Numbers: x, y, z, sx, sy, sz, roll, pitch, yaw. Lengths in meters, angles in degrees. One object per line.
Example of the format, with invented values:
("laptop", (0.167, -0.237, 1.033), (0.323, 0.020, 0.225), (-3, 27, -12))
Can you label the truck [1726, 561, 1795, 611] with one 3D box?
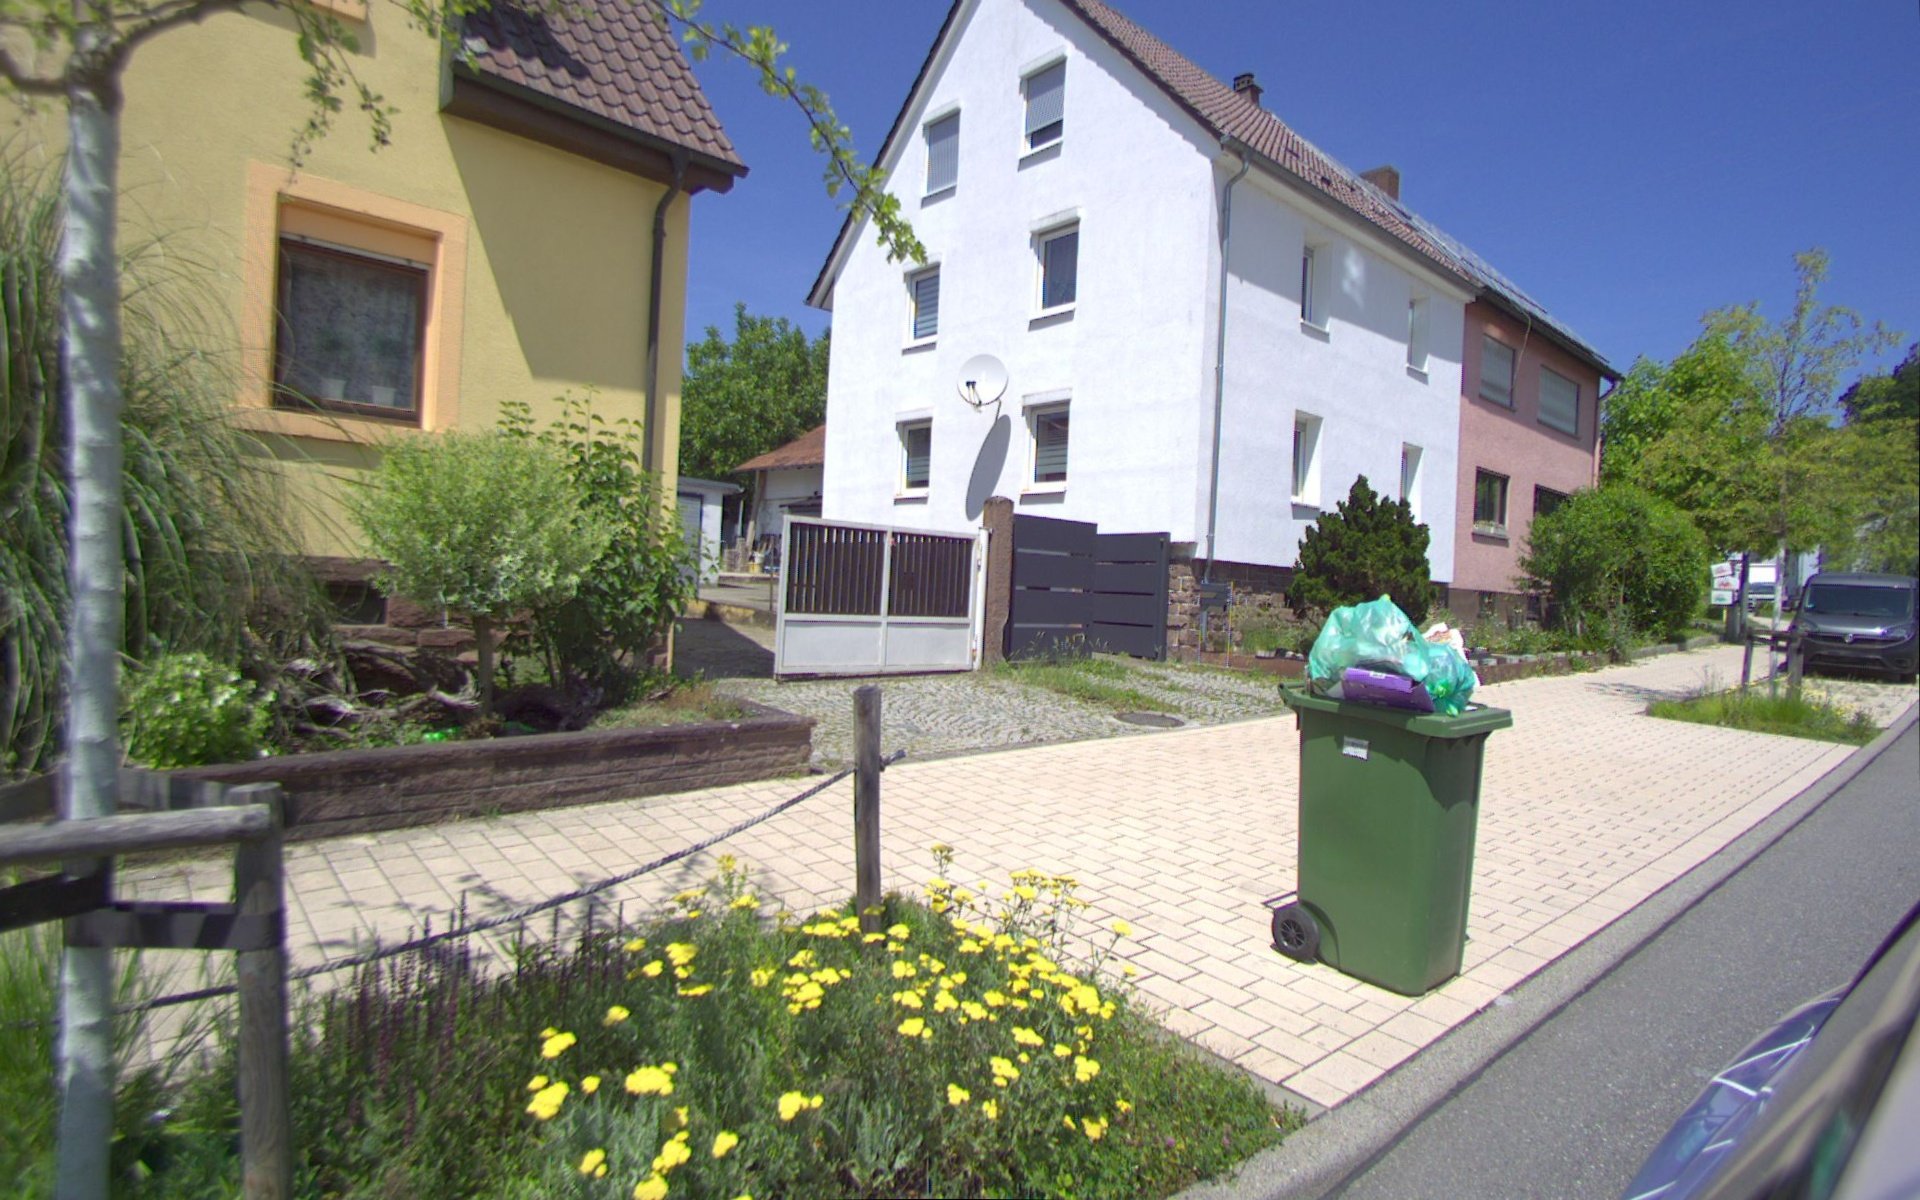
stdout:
("truck", (58.632, -1.015, 74.288), (2.785, 3.456, 8.032), (2, 1, 30))

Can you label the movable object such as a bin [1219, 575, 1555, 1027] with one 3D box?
("movable object such as a bin", (1.621, 0.643, 3.848), (0.910, 1.412, 0.793), (0, 5, -44))

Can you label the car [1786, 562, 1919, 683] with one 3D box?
("car", (16.443, 0.330, 18.252), (4.594, 1.865, 1.857), (0, 4, -45))

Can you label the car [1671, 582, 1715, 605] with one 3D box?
("car", (52.212, -0.491, 72.160), (1.634, 1.548, 3.834), (1, 1, 23))

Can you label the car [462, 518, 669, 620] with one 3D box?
("car", (-6.582, -0.543, 16.643), (1.886, 1.458, 4.157), (0, 3, -41))

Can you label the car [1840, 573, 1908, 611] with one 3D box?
("car", (48.220, -0.451, 53.481), (1.957, 1.856, 4.410), (3, 2, 34))
